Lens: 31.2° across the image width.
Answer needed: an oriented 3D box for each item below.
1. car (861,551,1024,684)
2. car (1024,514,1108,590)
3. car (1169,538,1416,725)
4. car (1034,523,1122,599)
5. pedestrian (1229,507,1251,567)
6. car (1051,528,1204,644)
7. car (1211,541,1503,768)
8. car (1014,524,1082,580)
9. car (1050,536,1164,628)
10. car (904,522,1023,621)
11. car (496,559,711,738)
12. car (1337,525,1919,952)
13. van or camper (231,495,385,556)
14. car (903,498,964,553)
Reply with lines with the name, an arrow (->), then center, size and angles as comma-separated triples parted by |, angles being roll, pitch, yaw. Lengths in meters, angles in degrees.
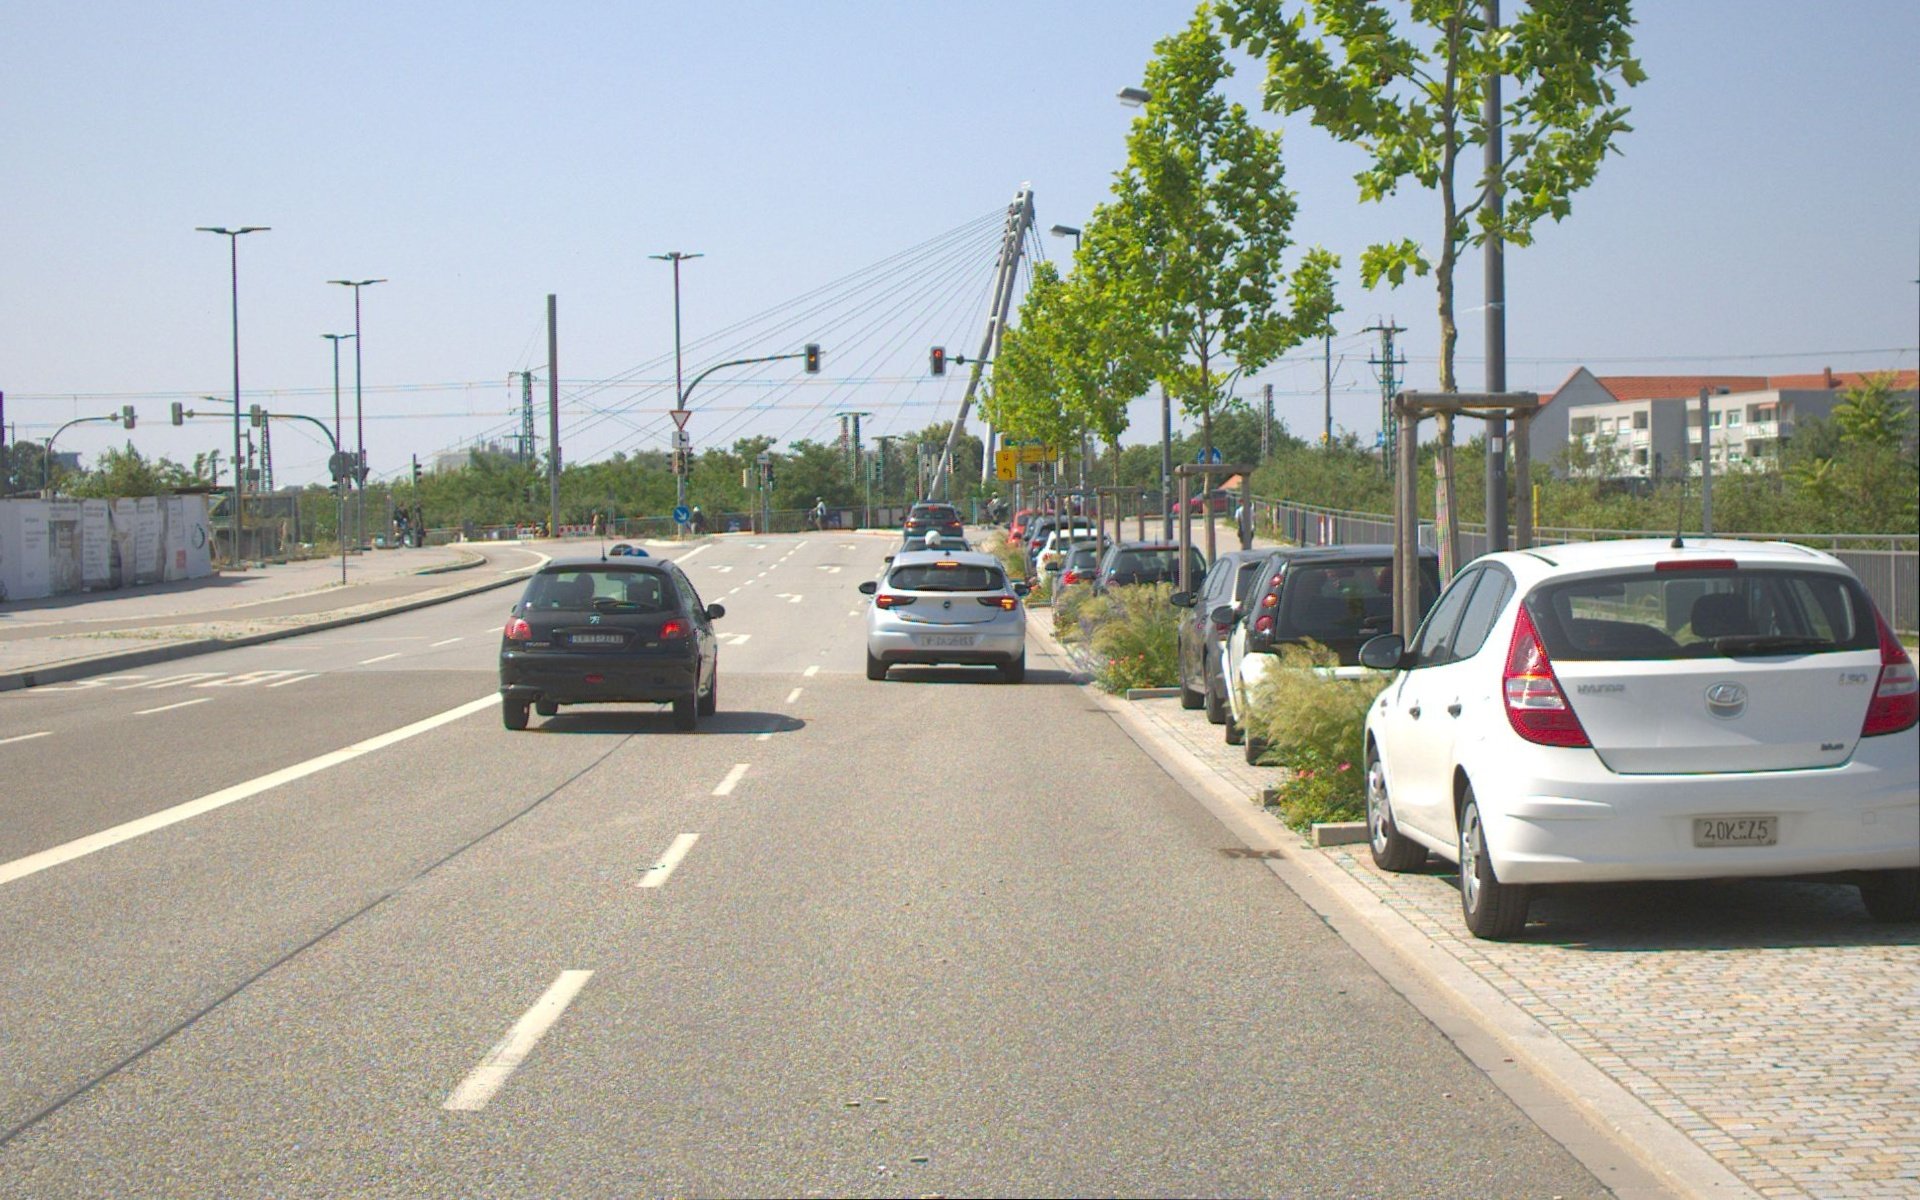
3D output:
car -> -0.182, 0.163, 39.700 | 1.778, 1.437, 4.000 | 1, 1, 0
car -> 2.396, -1.117, 78.651 | 1.822, 1.611, 3.611 | -2, 2, 1
car -> 2.852, 0.223, 30.248 | 1.704, 1.457, 3.954 | -2, 1, -1
car -> 2.445, -0.831, 71.994 | 1.696, 1.470, 4.205 | -2, 2, 1
pedestrian -> 7.348, -1.647, 90.227 | 0.533, 1.570, 0.524 | 1, 0, 0
car -> 2.247, -0.190, 47.036 | 1.704, 1.458, 3.954 | -2, 0, -2
car -> 2.774, 0.331, 24.800 | 1.704, 1.457, 4.085 | -2, 1, 2
car -> 2.465, -1.365, 96.734 | 1.778, 1.498, 4.000 | -1, 2, 0
car -> 2.383, -0.311, 56.408 | 1.704, 1.397, 4.269 | -2, 1, 1
car -> 0.030, -0.495, 57.156 | 1.778, 1.563, 4.001 | -1, 1, -3
car -> -3.022, 0.370, 29.720 | 1.619, 1.411, 3.728 | -1, 1, -3
car -> 2.690, 0.459, 14.301 | 1.746, 1.504, 4.001 | -1, 1, -1
van or camper -> -21.517, -2.442, 113.584 | 1.998, 1.891, 4.705 | 1, 0, 43
car -> -0.793, -2.270, 103.852 | 1.778, 1.563, 4.001 | -1, 2, 0
